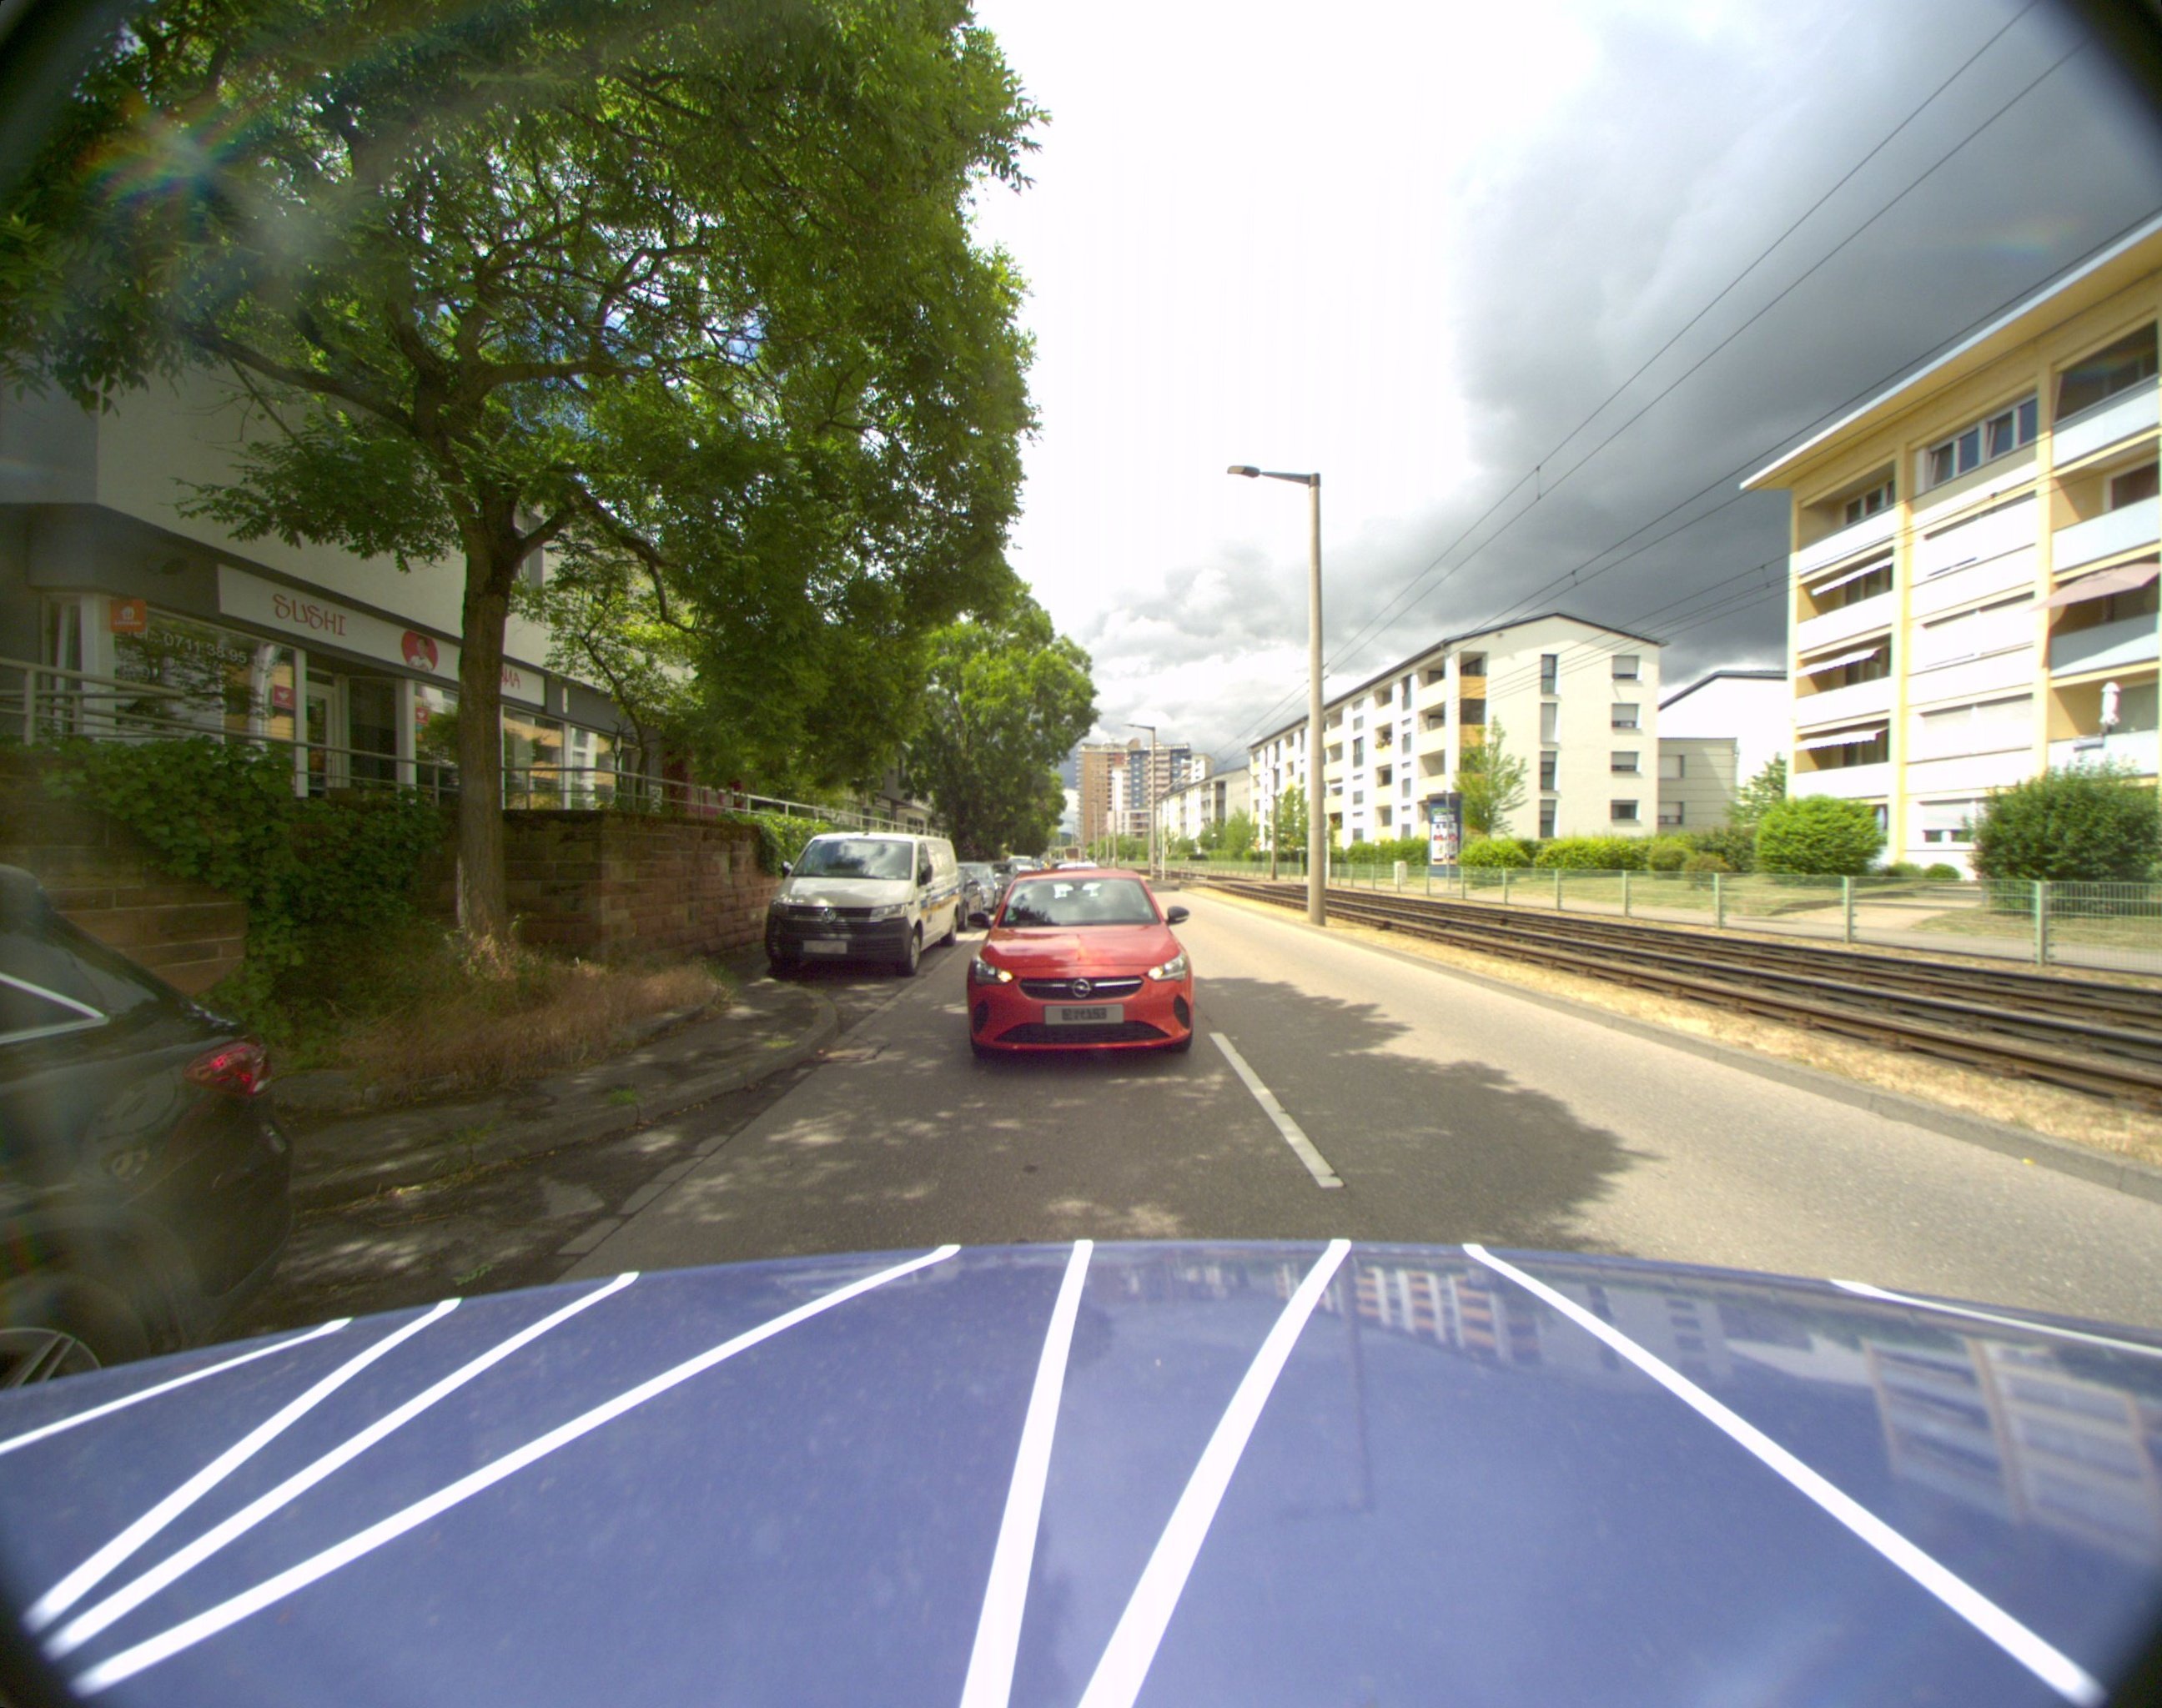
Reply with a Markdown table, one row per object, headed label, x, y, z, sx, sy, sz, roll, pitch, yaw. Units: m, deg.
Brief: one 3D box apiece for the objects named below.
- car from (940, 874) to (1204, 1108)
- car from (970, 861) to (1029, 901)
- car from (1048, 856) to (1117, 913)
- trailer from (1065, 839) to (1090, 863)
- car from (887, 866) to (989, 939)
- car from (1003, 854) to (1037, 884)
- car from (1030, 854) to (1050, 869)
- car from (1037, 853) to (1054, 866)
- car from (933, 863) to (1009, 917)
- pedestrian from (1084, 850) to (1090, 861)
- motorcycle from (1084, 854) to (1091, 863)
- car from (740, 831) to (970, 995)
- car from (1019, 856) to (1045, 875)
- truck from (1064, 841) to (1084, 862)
| label | x | y | z | sx | sy | sz | roll | pitch | yaw |
| --- | --- | --- | --- | --- | --- | --- | --- | --- | --- |
| car | -0.019 | 0.958 | 7.010 | 1.723 | 1.434 | 4.000 | -1 | 0 | 1 |
| car | -3.104 | 0.994 | 29.673 | 1.784 | 1.420 | 4.147 | -1 | 0 | 0 |
| car | -0.046 | 0.895 | 23.943 | 1.927 | 1.543 | 3.999 | -2 | 0 | -2 |
| trailer | -0.627 | -0.388 | 120.439 | 2.876 | 3.428 | 14.610 | -2 | 0 | -4 |
| car | -3.134 | 1.018 | 17.367 | 1.578 | 1.420 | 3.734 | -1 | 0 | 0 |
| car | -3.574 | 0.848 | 45.001 | 1.819 | 1.644 | 4.146 | -1 | 0 | -2 |
| car | -4.237 | 0.750 | 78.936 | 1.784 | 1.420 | 4.147 | -1 | 0 | 0 |
| car | -3.997 | 0.651 | 86.178 | 1.784 | 1.420 | 4.147 | 0 | 0 | 0 |
| car | -3.186 | 1.000 | 22.679 | 1.785 | 1.420 | 4.144 | 0 | 0 | -2 |
| pedestrian | 0.813 | 0.257 | 100.548 | 0.737 | 1.408 | 0.927 | -2 | 1 | -1 |
| motorcycle | 0.834 | 0.554 | 100.482 | 0.783 | 1.181 | 1.869 | -1 | 0 | -1 |
| car | -3.091 | 0.711 | 11.669 | 1.978 | 1.958 | 5.013 | -1 | 0 | 0 |
| car | -3.926 | 0.917 | 61.326 | 1.784 | 1.420 | 4.147 | -1 | 0 | 0 |
| truck | -1.215 | -0.378 | 128.650 | 2.853 | 3.428 | 4.413 | -2 | 0 | -5 |
